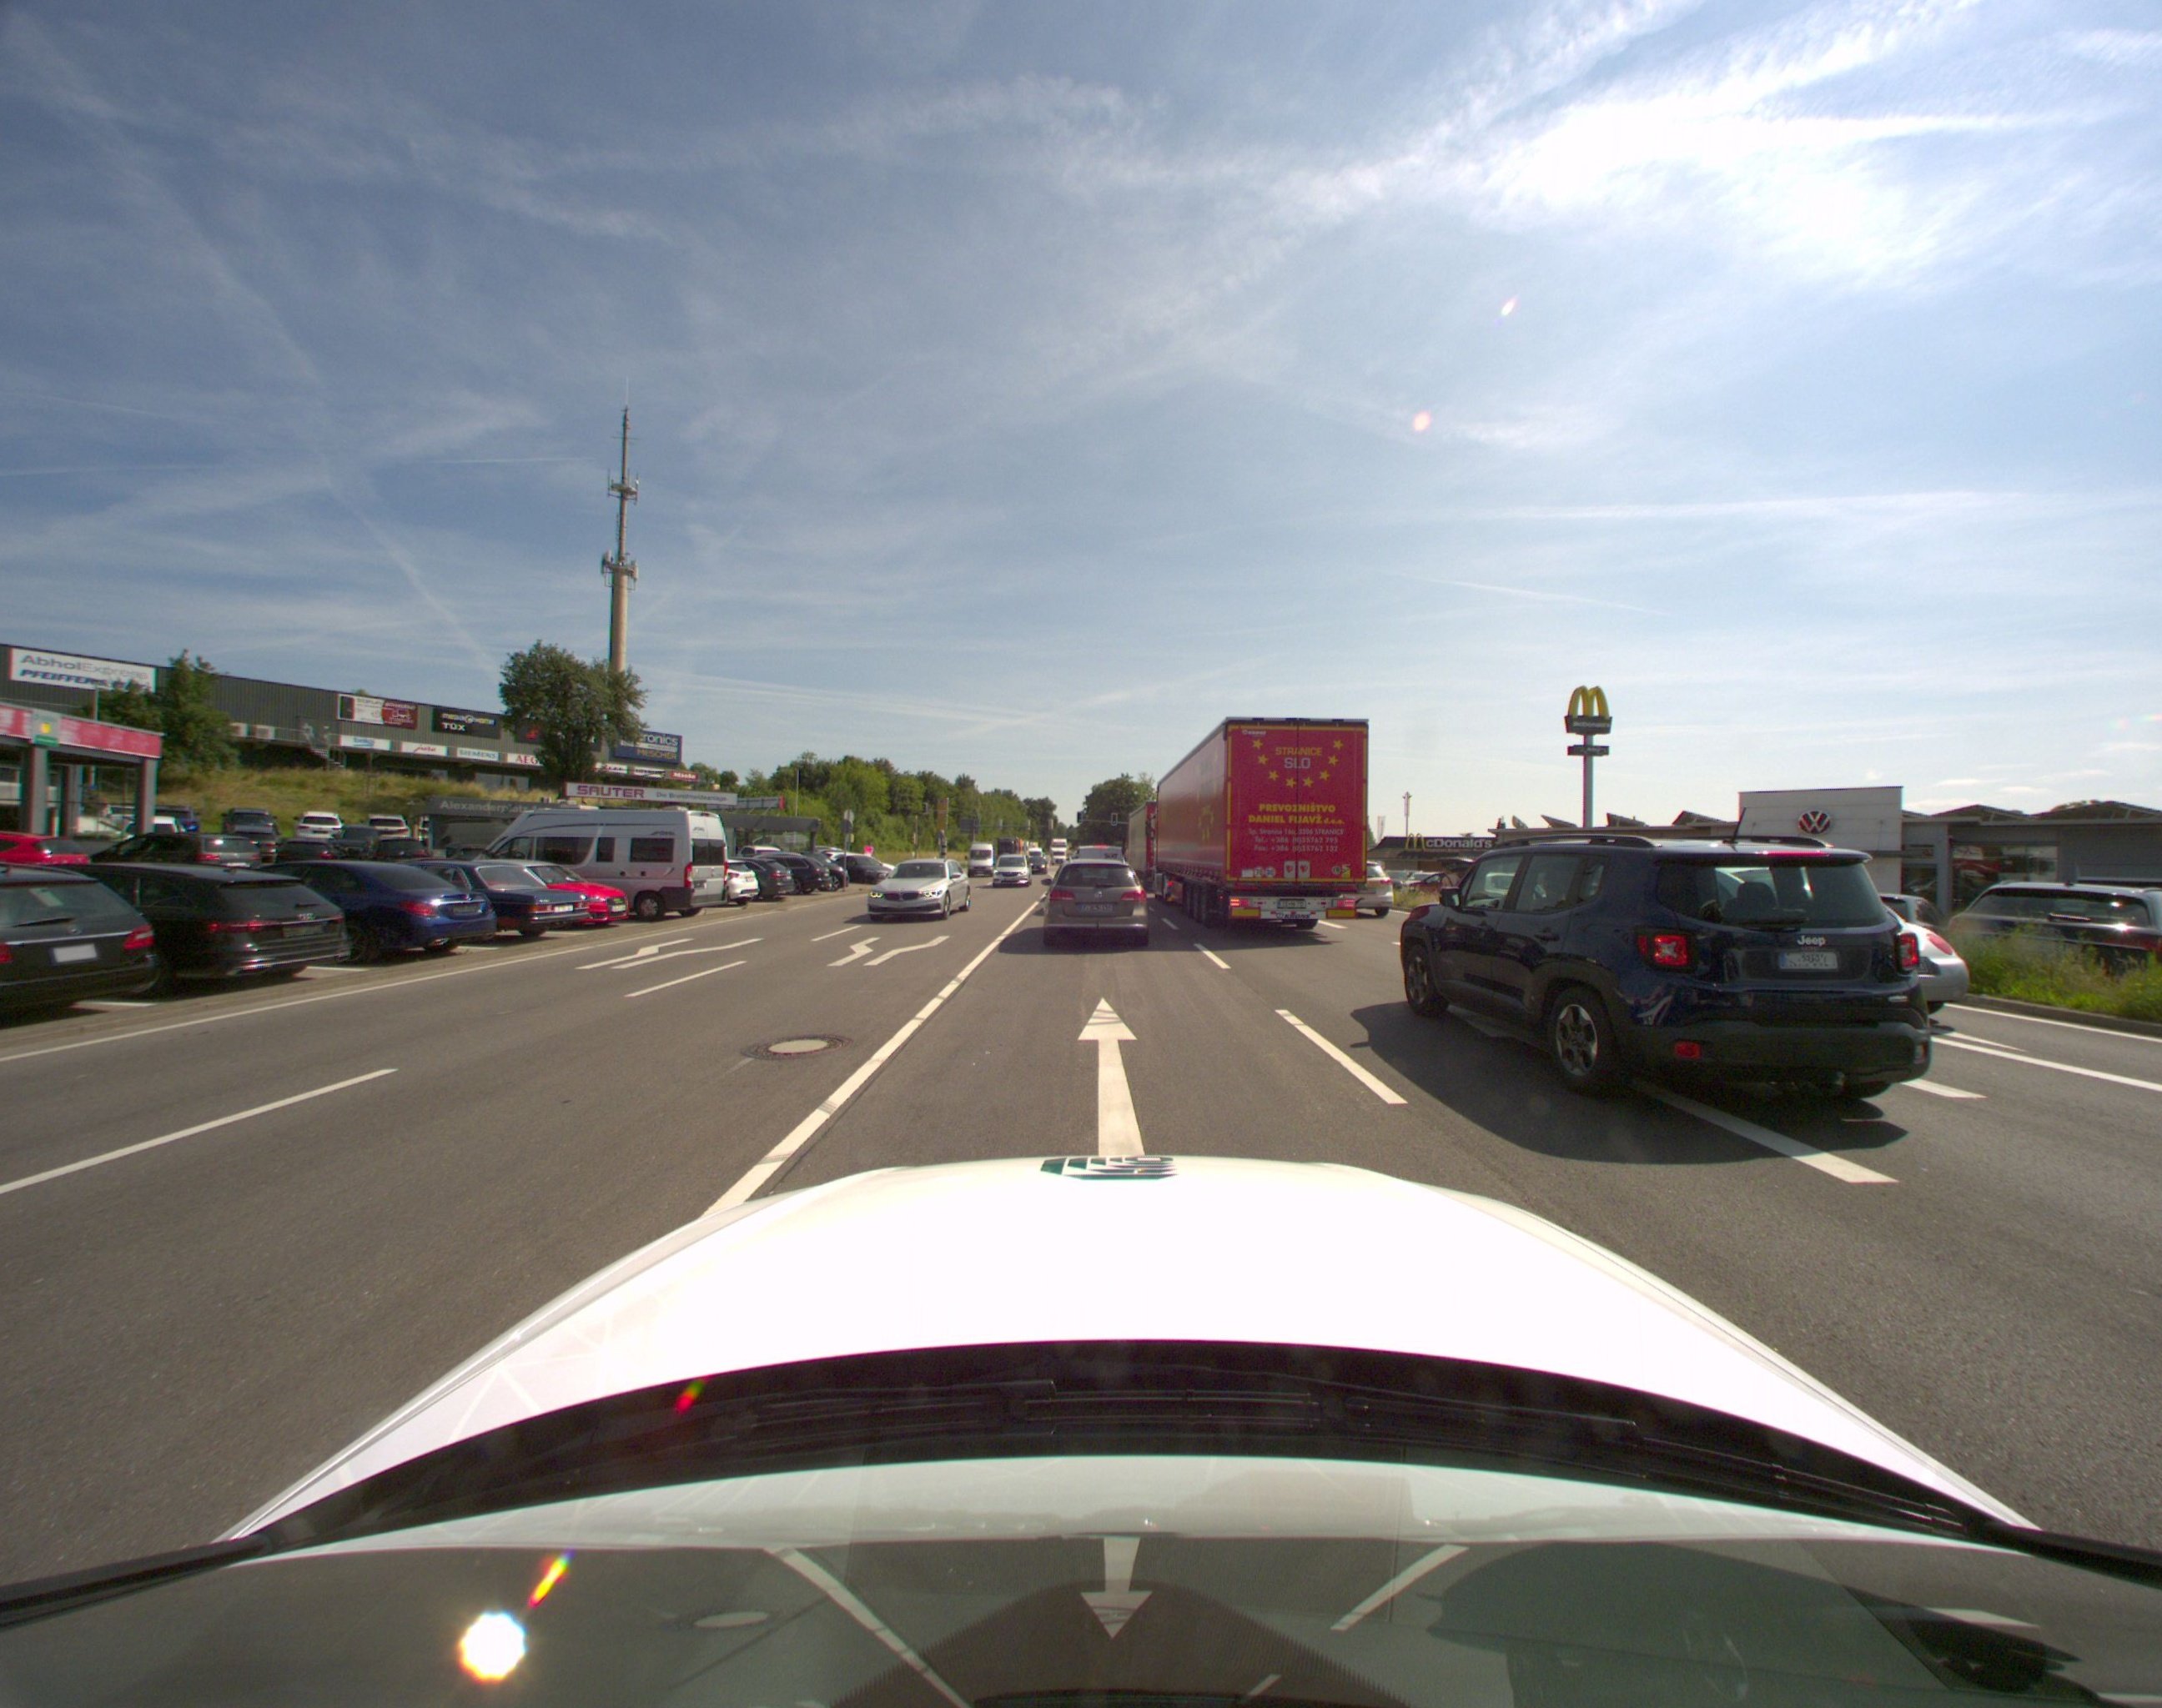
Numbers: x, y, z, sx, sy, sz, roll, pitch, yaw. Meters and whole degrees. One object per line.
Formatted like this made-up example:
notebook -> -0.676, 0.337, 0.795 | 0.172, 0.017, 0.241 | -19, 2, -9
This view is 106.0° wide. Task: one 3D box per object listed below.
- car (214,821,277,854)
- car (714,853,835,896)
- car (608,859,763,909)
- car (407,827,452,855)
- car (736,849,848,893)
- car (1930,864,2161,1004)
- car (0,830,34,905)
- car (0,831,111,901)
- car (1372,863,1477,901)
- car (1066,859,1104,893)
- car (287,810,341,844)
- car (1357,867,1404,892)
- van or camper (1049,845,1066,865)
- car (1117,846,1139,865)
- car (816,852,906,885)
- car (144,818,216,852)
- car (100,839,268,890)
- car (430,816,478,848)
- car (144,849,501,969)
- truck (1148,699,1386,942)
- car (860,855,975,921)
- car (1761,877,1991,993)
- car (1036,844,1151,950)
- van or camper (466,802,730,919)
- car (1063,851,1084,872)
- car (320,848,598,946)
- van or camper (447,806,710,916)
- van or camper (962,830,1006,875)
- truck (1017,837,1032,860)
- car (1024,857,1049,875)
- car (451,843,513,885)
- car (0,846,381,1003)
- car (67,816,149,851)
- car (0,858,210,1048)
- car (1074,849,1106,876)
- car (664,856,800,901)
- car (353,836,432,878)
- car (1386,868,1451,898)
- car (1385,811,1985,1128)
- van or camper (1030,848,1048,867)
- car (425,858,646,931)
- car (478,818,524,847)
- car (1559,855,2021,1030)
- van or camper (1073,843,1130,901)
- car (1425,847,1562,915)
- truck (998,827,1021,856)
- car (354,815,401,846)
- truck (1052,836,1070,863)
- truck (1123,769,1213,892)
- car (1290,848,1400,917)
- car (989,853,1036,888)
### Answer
car -> -40.297, -0.769, 39.355 | 1.745, 1.450, 3.705 | 1, -1, -41
car -> -11.386, 0.734, 30.453 | 3.805, 1.539, 1.842 | 0, 0, -1
car -> -11.985, 0.883, 24.865 | 3.805, 1.448, 1.842 | 0, 0, -1
car -> -35.207, -0.669, 43.979 | 1.745, 1.450, 3.705 | 1, -1, -41
car -> -11.578, 0.672, 32.808 | 3.805, 1.675, 1.842 | 0, 0, -1
car -> 12.293, 0.835, 10.029 | 4.051, 1.402, 1.721 | 1, 0, -31
car -> -24.650, 0.290, 16.485 | 3.832, 1.588, 1.756 | 0, 0, -23
car -> -25.682, 0.273, 18.794 | 3.832, 1.588, 1.756 | 0, 0, -23
car -> 15.298, 1.224, 36.436 | 2.005, 1.531, 3.964 | 1, 0, -28
car -> 0.198, 1.015, 38.545 | 1.721, 1.519, 3.312 | 1, -1, 0
car -> -38.667, -1.326, 41.113 | 1.745, 1.537, 3.705 | 1, -1, -41
car -> 20.142, 1.701, 54.724 | 1.716, 1.536, 4.062 | 0, 0, 40
van or camper -> -3.425, 0.144, 120.642 | 2.217, 2.841, 5.710 | 1, -1, 0
car -> 3.988, 0.127, 69.615 | 1.721, 1.519, 3.311 | 1, -1, 0
car -> -11.755, 0.731, 43.504 | 4.470, 1.693, 2.145 | 0, 0, 32
car -> -41.977, -0.827, 38.018 | 1.745, 1.450, 3.705 | 1, -1, -41
car -> -28.844, 0.343, 26.246 | 3.795, 1.588, 1.773 | 0, 0, 8
car -> -32.104, -1.091, 41.667 | 1.745, 1.450, 3.705 | 1, -1, -41
car -> -11.267, 0.772, 12.308 | 3.697, 1.555, 1.707 | 2, 1, -1
truck -> 3.982, -0.596, 22.673 | 2.947, 4.269, 16.583 | 0, 0, 0
car -> -4.096, 0.784, 21.241 | 1.902, 1.521, 4.783 | 0, 0, 2
car -> 12.836, 1.179, 13.103 | 4.051, 1.536, 1.721 | 1, 0, -31
car -> 0.305, 0.683, 14.425 | 1.782, 1.638, 3.507 | 0, 0, 4
van or camper -> -11.859, 0.151, 20.288 | 5.226, 2.731, 2.211 | 0, 0, 1
car -> -0.683, 0.721, 75.715 | 1.719, 1.909, 3.315 | 1, -1, 4
car -> -11.354, 0.752, 15.070 | 3.697, 1.484, 1.707 | 4, 0, -2
van or camper -> -13.806, 0.162, 22.679 | 5.871, 2.873, 2.290 | 0, 0, 0
van or camper -> -7.194, -0.091, 61.168 | 2.199, 3.055, 5.904 | 5, 0, 1
truck -> -9.858, -0.962, 143.338 | 2.528, 3.786, 6.981 | -1, 0, -3
car -> -3.594, 0.960, 66.472 | 1.660, 1.409, 3.927 | -2, 0, 2
car -> -24.307, 0.397, 33.167 | 1.775, 1.588, 3.790 | 0, 0, -33
car -> -11.201, 0.775, 9.805 | 3.833, 1.484, 1.801 | 4, 0, -2
car -> -43.549, -0.866, 36.529 | 1.745, 1.450, 3.705 | 1, -1, -41
car -> -11.466, 0.777, 7.657 | 4.446, 1.484, 1.771 | 4, 0, -2
car -> 0.551, 0.496, 47.016 | 1.720, 1.519, 3.314 | 1, -1, 2
car -> -11.776, 0.802, 27.660 | 3.805, 1.448, 1.842 | 0, 0, -1
car -> -27.077, 0.119, 31.988 | 3.780, 1.588, 1.780 | 0, 0, 40
car -> 18.671, 1.563, 44.978 | 4.059, 1.536, 1.718 | 1, 0, -42
car -> 3.985, 0.624, 6.373 | 1.812, 1.685, 4.002 | -1, 0, 2
van or camper -> -5.641, 0.433, 109.527 | 2.166, 2.551, 4.170 | 1, 0, 0
car -> -11.793, 0.846, 17.779 | 3.581, 1.480, 1.813 | -1, 0, 1
car -> -32.755, -1.175, 45.961 | 1.745, 1.450, 3.705 | 1, -1, -41
car -> 7.175, 0.756, 8.895 | 1.652, 1.472, 4.002 | 0, 0, 2
van or camper -> 0.669, 0.592, 28.740 | 1.846, 1.906, 3.784 | 1, 0, 0
car -> 12.494, 0.776, 24.662 | 3.852, 1.921, 1.689 | 1, 0, -25
truck -> -9.732, -1.721, 111.665 | 2.807, 3.786, 6.981 | -1, 0, -3
car -> -36.944, -1.209, 42.805 | 1.745, 1.450, 3.705 | 1, -1, -41
truck -> -3.285, -0.765, 135.512 | 2.544, 4.307, 7.595 | -1, 0, 0
truck -> 4.142, -0.991, 43.162 | 3.052, 5.220, 17.006 | 0, 0, 0
car -> 7.073, 0.711, 22.248 | 1.812, 1.685, 4.002 | -1, 0, 2
car -> -3.451, 0.801, 41.731 | 1.902, 1.663, 4.182 | -2, 0, 2
